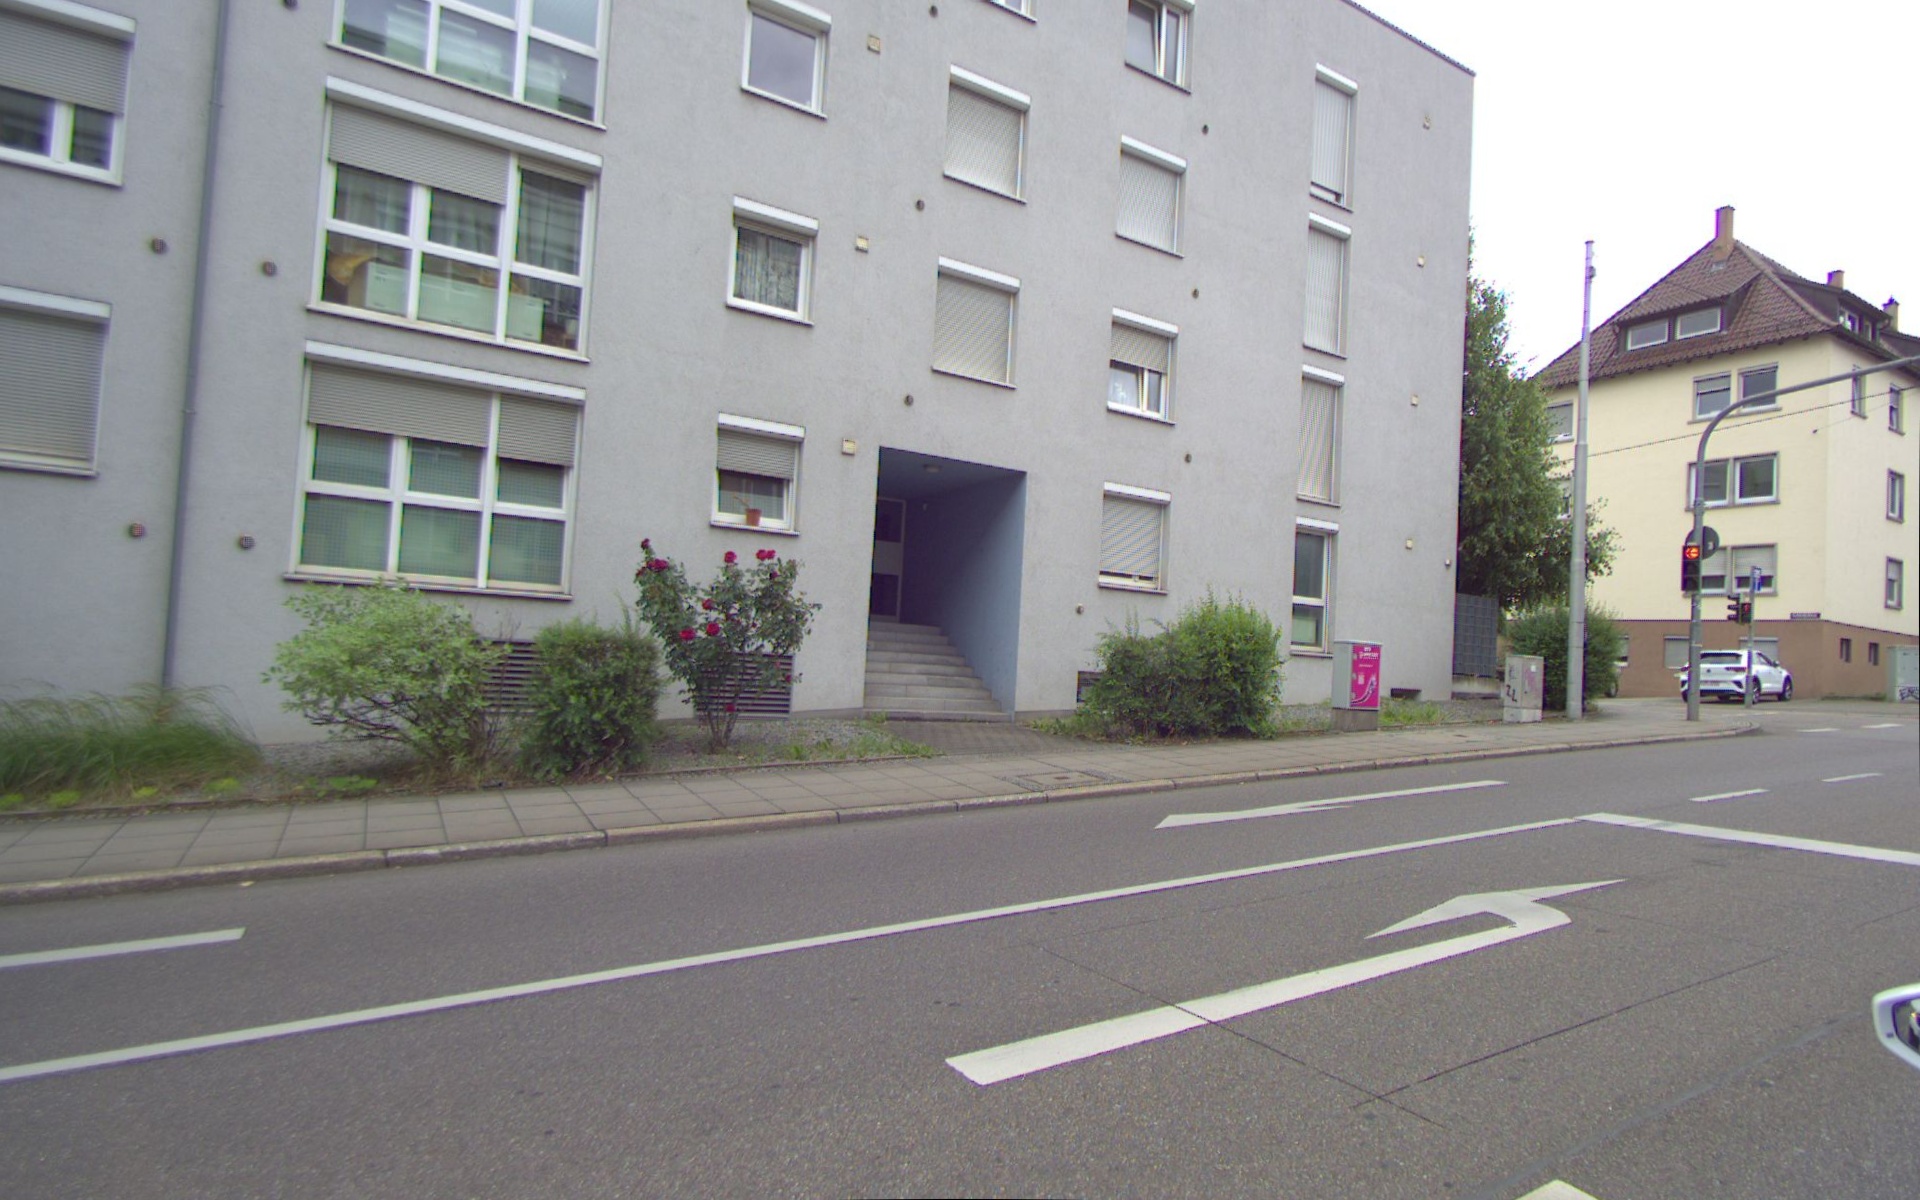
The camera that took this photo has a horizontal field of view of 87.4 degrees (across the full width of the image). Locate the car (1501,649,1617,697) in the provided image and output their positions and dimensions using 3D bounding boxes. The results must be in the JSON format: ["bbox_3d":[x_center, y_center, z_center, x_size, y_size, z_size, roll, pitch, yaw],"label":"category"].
[{"bbox_3d":[20.580,2.493,34.481,4.053,1.566,1.662,2,-4,-30],"label":"car"}]

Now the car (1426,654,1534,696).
[{"bbox_3d":[18.990,2.700,36.650,3.953,1.380,1.662,2,-1,-30],"label":"car"}]

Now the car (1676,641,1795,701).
[{"bbox_3d":[23.254,2.091,30.094,3.960,1.683,1.660,2,-4,-35],"label":"car"}]
